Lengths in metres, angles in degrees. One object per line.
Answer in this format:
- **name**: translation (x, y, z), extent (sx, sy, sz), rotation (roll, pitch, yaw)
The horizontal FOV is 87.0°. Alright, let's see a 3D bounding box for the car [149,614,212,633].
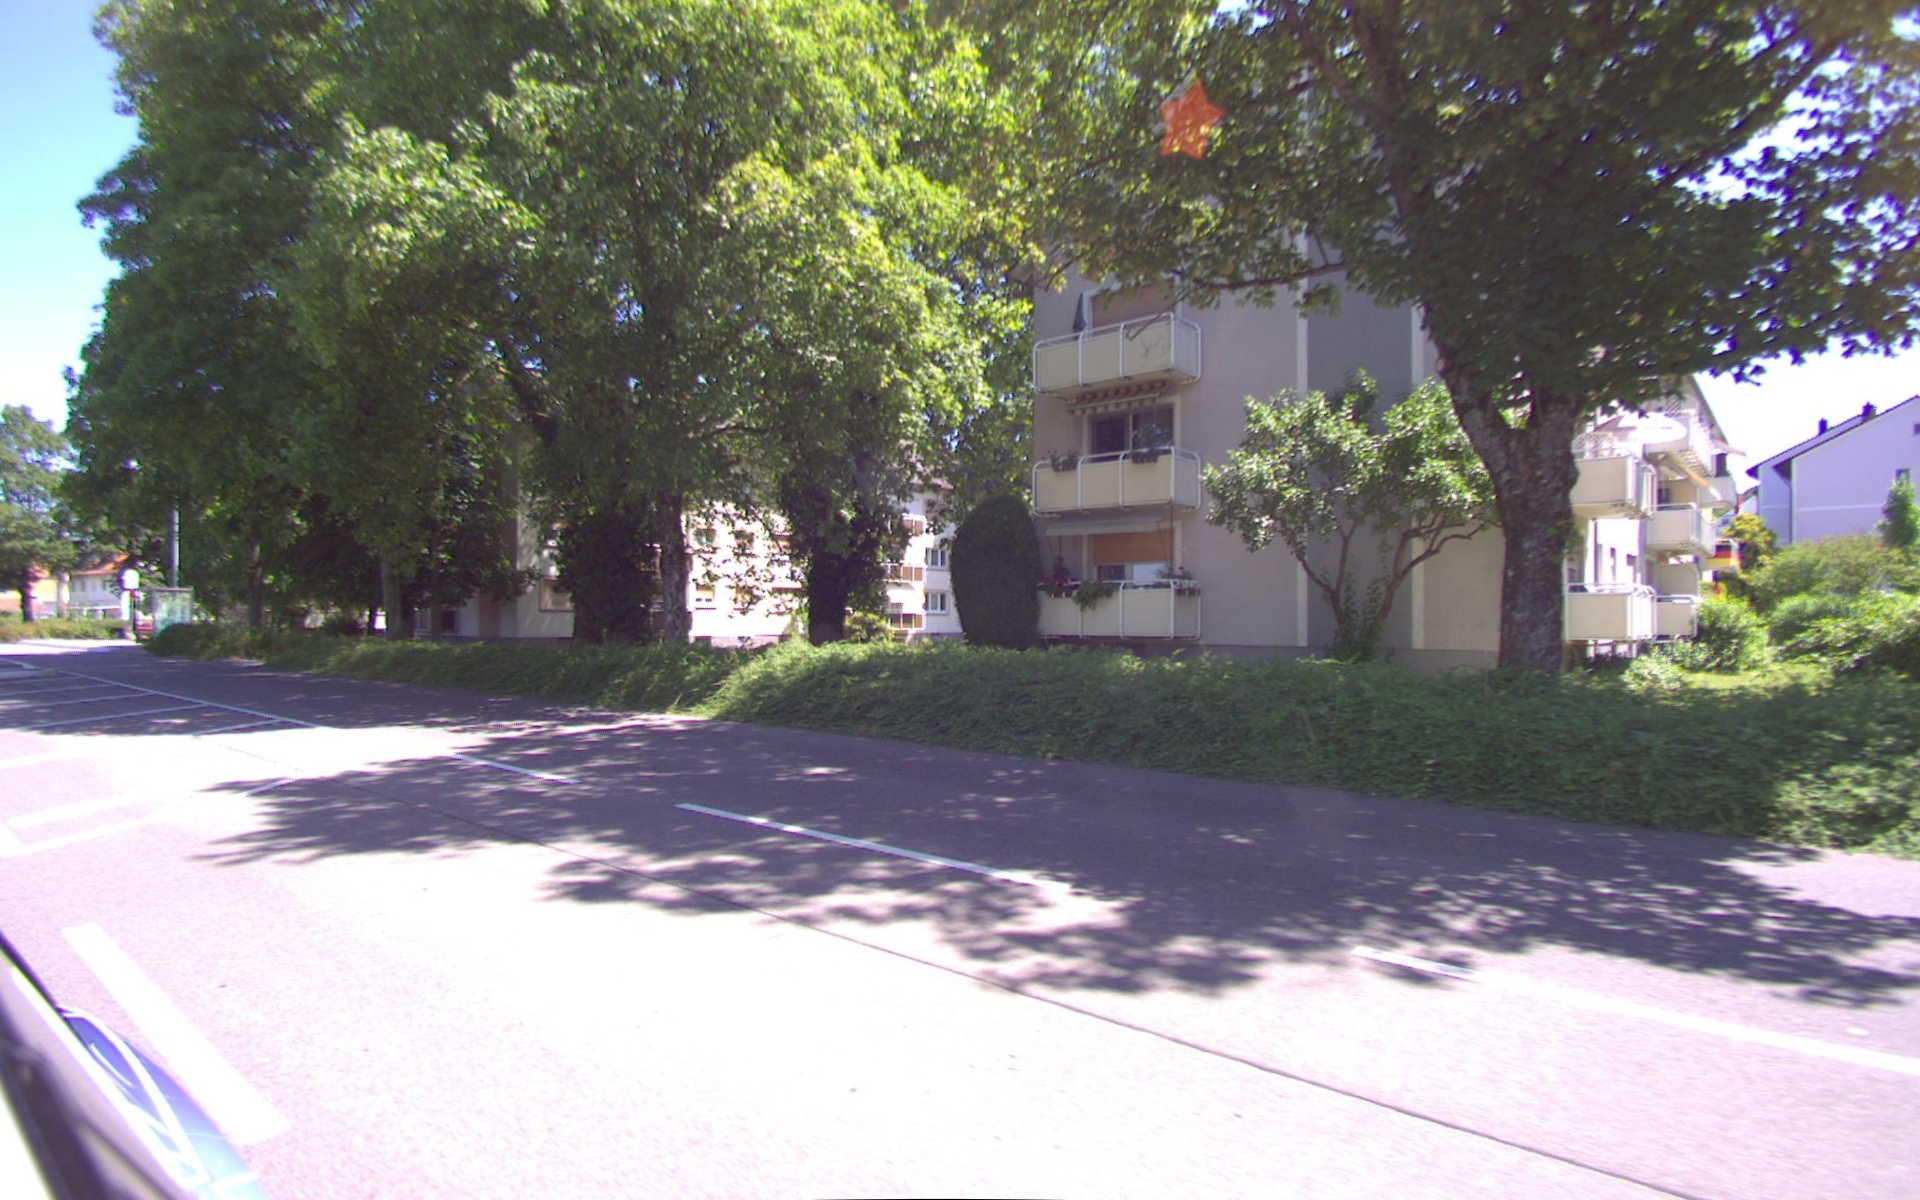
- **car**: translation (-61.903, 1.888, 80.387), extent (1.545, 1.461, 3.662), rotation (0, -2, 23)
